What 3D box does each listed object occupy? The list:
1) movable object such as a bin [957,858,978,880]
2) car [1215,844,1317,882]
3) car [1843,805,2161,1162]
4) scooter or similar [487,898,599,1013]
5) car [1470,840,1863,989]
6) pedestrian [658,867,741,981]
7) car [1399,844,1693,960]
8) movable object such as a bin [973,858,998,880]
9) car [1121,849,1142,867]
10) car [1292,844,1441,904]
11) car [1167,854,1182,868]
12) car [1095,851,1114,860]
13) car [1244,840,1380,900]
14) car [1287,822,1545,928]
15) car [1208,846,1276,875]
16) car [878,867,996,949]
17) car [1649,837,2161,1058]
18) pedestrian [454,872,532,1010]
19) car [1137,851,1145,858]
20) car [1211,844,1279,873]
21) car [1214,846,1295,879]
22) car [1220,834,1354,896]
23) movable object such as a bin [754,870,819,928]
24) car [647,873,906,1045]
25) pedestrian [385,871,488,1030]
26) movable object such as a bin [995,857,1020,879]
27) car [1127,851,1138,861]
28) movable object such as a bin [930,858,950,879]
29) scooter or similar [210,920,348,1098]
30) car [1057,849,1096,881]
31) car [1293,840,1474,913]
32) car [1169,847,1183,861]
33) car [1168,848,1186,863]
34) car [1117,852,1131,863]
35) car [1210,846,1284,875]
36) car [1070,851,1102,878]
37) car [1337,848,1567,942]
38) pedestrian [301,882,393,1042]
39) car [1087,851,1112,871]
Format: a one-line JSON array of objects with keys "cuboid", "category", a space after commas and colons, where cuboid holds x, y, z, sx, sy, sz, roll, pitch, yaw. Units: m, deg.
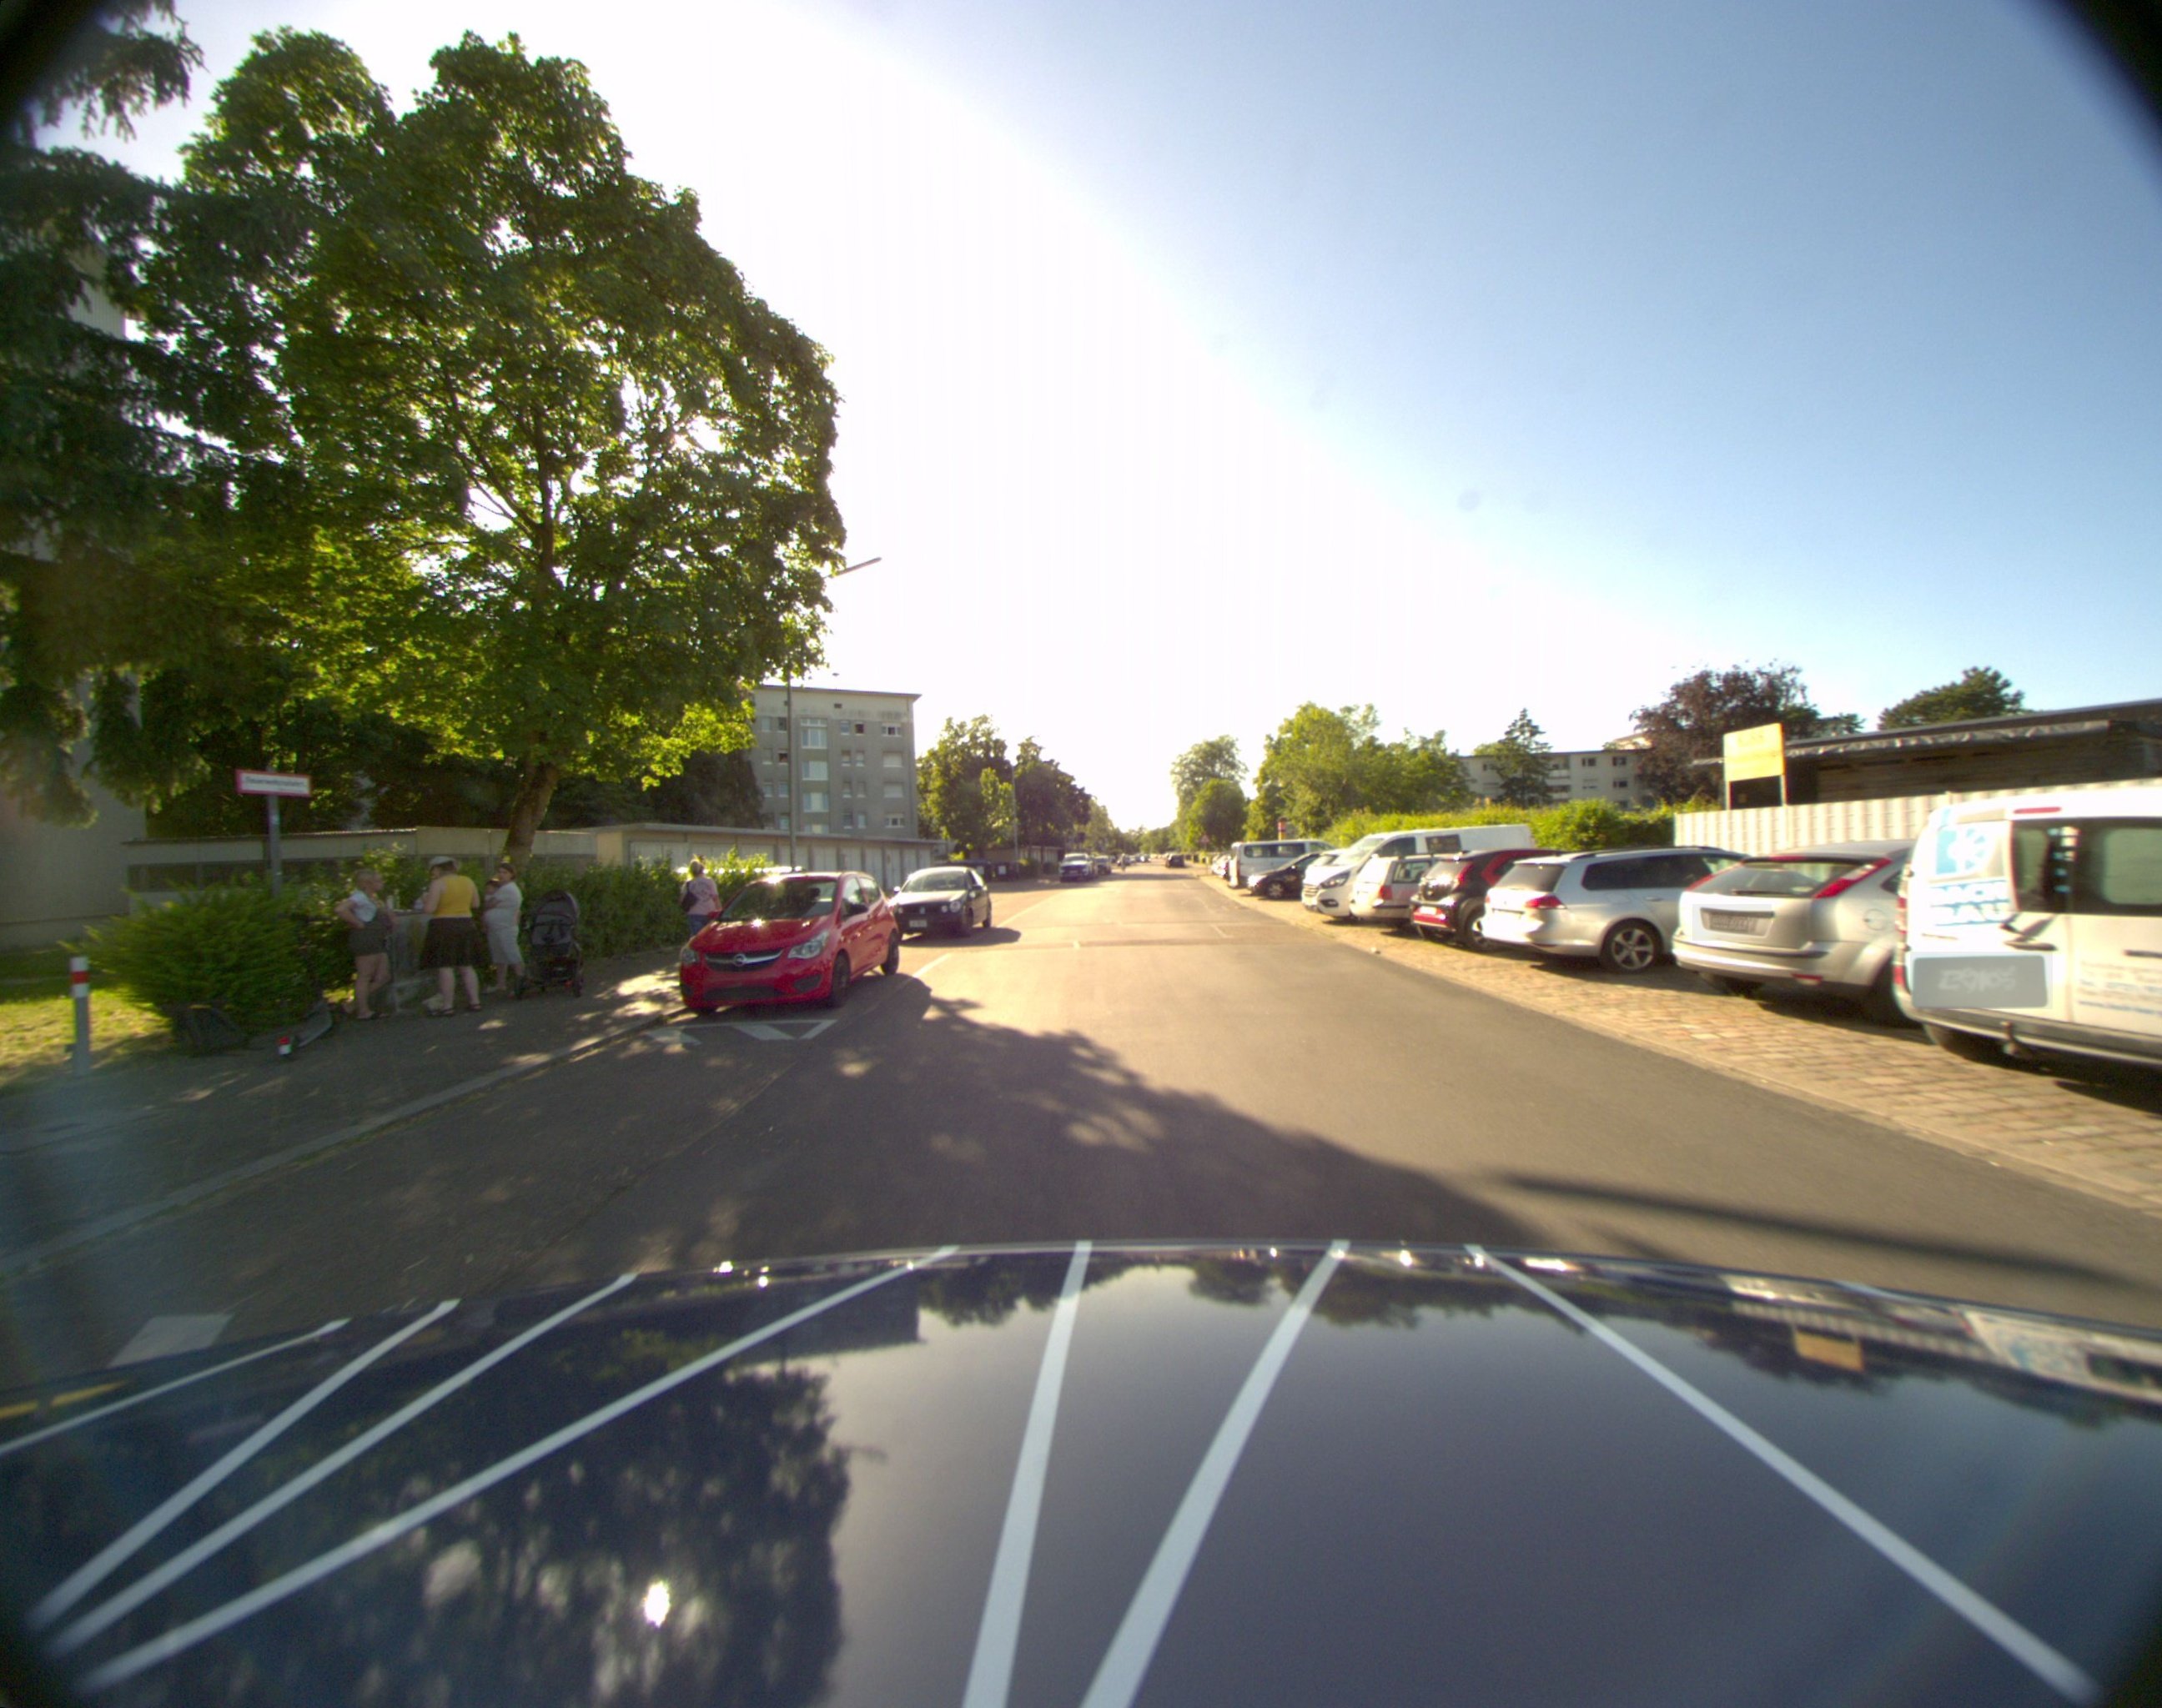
[{"cuboid": [-7.514, 0.986, 50.345, 1.077, 1.339, 0.866, -2, 2, 17], "category": "movable object such as a bin"}, {"cuboid": [8.917, 0.434, 36.929, 4.553, 1.470, 1.748, -4, 0, 6], "category": "car"}, {"cuboid": [7.325, 0.554, 4.360, 3.988, 1.770, 1.925, -3, 0, -2], "category": "car"}, {"cuboid": [-6.281, 1.158, 8.920, 0.624, 1.220, 0.905, -1, 1, 1], "category": "scooter or similar"}, {"cuboid": [7.093, 0.712, 9.512, 3.521, 1.480, 1.637, -4, 0, 4], "category": "car"}, {"cuboid": [-5.528, 0.994, 11.032, 0.789, 1.556, 0.569, -4, 1, 1], "category": "pedestrian"}, {"cuboid": [7.123, 0.714, 11.895, 3.523, 1.480, 1.637, -4, -1, -1], "category": "car"}, {"cuboid": [-6.279, 0.987, 49.851, 1.252, 1.339, 1.054, -2, 2, 17], "category": "movable object such as a bin"}, {"cuboid": [4.878, 0.404, 73.063, 1.731, 1.586, 3.814, -3, 0, 6], "category": "car"}, {"cuboid": [8.510, 0.570, 22.920, 3.776, 1.478, 1.884, -4, 1, 5], "category": "car"}, {"cuboid": [11.512, 0.789, 93.715, 1.817, 1.672, 3.650, 0, 0, 6], "category": "car"}, {"cuboid": [4.488, 0.300, 147.108, 3.503, 1.499, 1.602, -4, 1, 0], "category": "car"}, {"cuboid": [7.684, 0.527, 25.709, 4.158, 1.696, 1.885, -4, 1, 12], "category": "car"}, {"cuboid": [7.381, 0.449, 17.125, 4.801, 1.909, 2.081, -4, 1, -1], "category": "car"}, {"cuboid": [10.310, 0.424, 48.870, 3.996, 1.524, 1.832, -4, 1, 4], "category": "car"}, {"cuboid": [-2.985, 1.075, 16.547, 1.651, 1.395, 3.882, -1, 1, 2], "category": "car"}, {"cuboid": [7.432, 0.705, 6.751, 3.524, 1.480, 1.727, -3, 0, -6], "category": "car"}, {"cuboid": [-6.877, 0.996, 8.903, 0.487, 1.556, 0.469, -1, 2, -3], "category": "pedestrian"}, {"cuboid": [13.312, 0.077, 167.805, 1.731, 1.586, 3.814, -3, 0, 6], "category": "car"}, {"cuboid": [11.135, 0.293, 51.746, 4.196, 1.646, 1.847, -4, 1, 4], "category": "car"}, {"cuboid": [9.348, 0.439, 41.165, 3.995, 1.470, 1.791, -4, 0, 6], "category": "car"}, {"cuboid": [7.665, 0.380, 28.635, 4.489, 1.965, 2.000, -4, 1, 4], "category": "car"}, {"cuboid": [-7.617, 1.159, 19.702, 1.240, 1.395, 0.914, -2, 1, 3], "category": "movable object such as a bin"}, {"cuboid": [-3.358, 1.061, 9.201, 1.579, 1.438, 3.788, -3, 1, -1], "category": "car"}, {"cuboid": [-6.657, 0.963, 7.868, 0.482, 1.556, 0.597, 0, 2, 11], "category": "pedestrian"}, {"cuboid": [-4.746, 0.927, 49.202, 1.252, 1.339, 1.054, -2, 2, 17], "category": "movable object such as a bin"}, {"cuboid": [9.107, 0.346, 133.241, 1.731, 1.586, 3.814, -3, 0, 6], "category": "car"}, {"cuboid": [-9.698, 0.986, 52.265, 1.077, 1.409, 0.834, -2, 2, 11], "category": "movable object such as a bin"}, {"cuboid": [-6.632, 1.219, 6.337, 0.401, 1.220, 1.251, -2, 1, -29], "category": "scooter or similar"}, {"cuboid": [-0.223, 0.703, 49.226, 1.911, 1.829, 5.276, -4, -1, 5], "category": "car"}, {"cuboid": [7.871, 0.563, 20.093, 3.995, 1.573, 1.884, -4, 1, 5], "category": "car"}, {"cuboid": [13.477, -0.069, 107.623, 1.909, 1.930, 4.513, 0, 0, 7], "category": "car"}, {"cuboid": [10.559, 0.140, 84.027, 1.783, 1.564, 4.426, -3, 0, 6], "category": "car"}, {"cuboid": [6.326, 0.510, 111.287, 1.731, 1.462, 3.814, -3, 0, 6], "category": "car"}, {"cuboid": [10.152, 0.382, 46.672, 4.101, 1.504, 1.813, -4, 1, 4], "category": "car"}, {"cuboid": [0.413, 0.768, 56.157, 1.837, 1.780, 4.557, -4, -1, 5], "category": "car"}, {"cuboid": [6.973, 0.726, 14.495, 3.523, 1.438, 1.636, -4, 1, -3], "category": "car"}, {"cuboid": [-7.198, 1.034, 7.467, 0.362, 1.495, 0.500, -1, 2, -1], "category": "pedestrian"}, {"cuboid": [1.665, 0.617, 66.542, 1.808, 1.584, 4.024, -4, 0, 5], "category": "car"}]
